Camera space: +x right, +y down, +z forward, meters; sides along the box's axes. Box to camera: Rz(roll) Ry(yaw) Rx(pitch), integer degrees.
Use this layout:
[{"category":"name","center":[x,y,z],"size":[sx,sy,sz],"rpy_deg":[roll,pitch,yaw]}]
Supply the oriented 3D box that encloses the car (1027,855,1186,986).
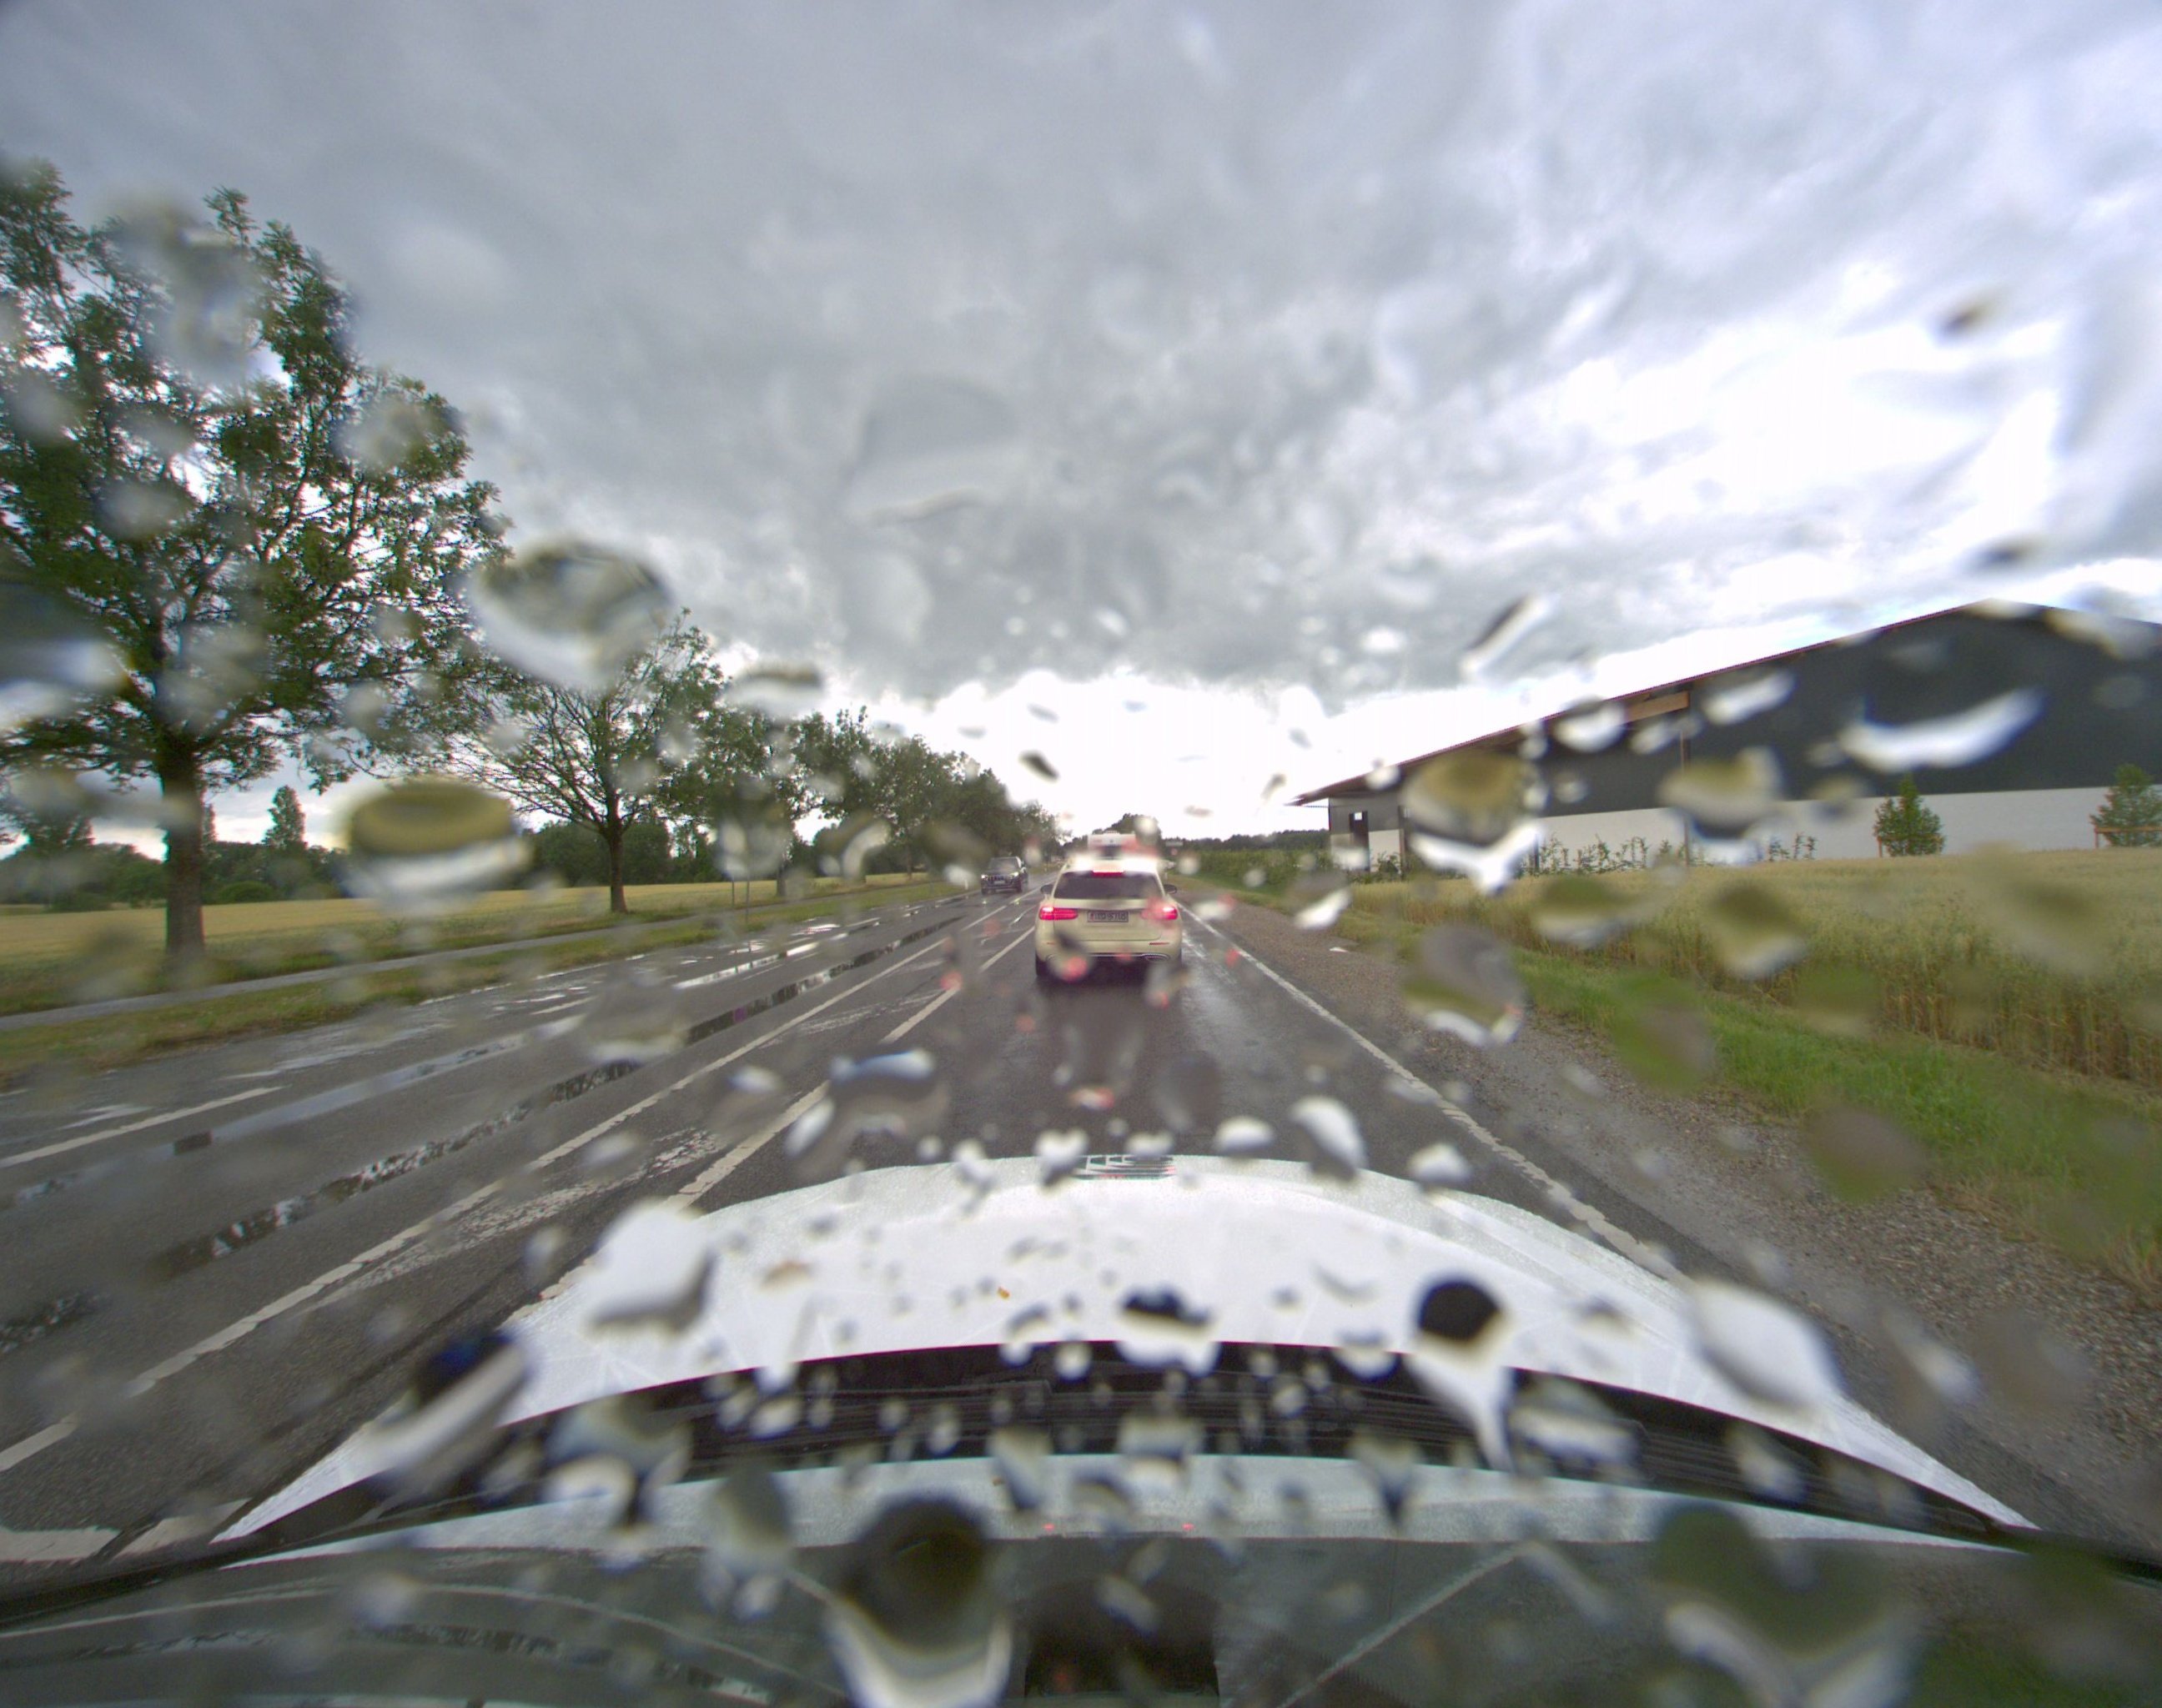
[{"category":"car","center":[0.373,0.762,11.290],"size":[1.790,1.464,4.033],"rpy_deg":[-1,0,2]}]

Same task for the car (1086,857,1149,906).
[{"category":"car","center":[1.152,0.839,26.580],"size":[1.887,1.429,3.929],"rpy_deg":[-1,0,1]}]

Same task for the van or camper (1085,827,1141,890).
[{"category":"van or camper","center":[1.639,0.236,40.892],"size":[2.487,2.831,5.938],"rpy_deg":[-3,0,3]}]

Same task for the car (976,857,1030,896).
[{"category":"car","center":[-3.649,1.020,38.735],"size":[1.909,1.632,4.359],"rpy_deg":[-4,-1,2]}]
